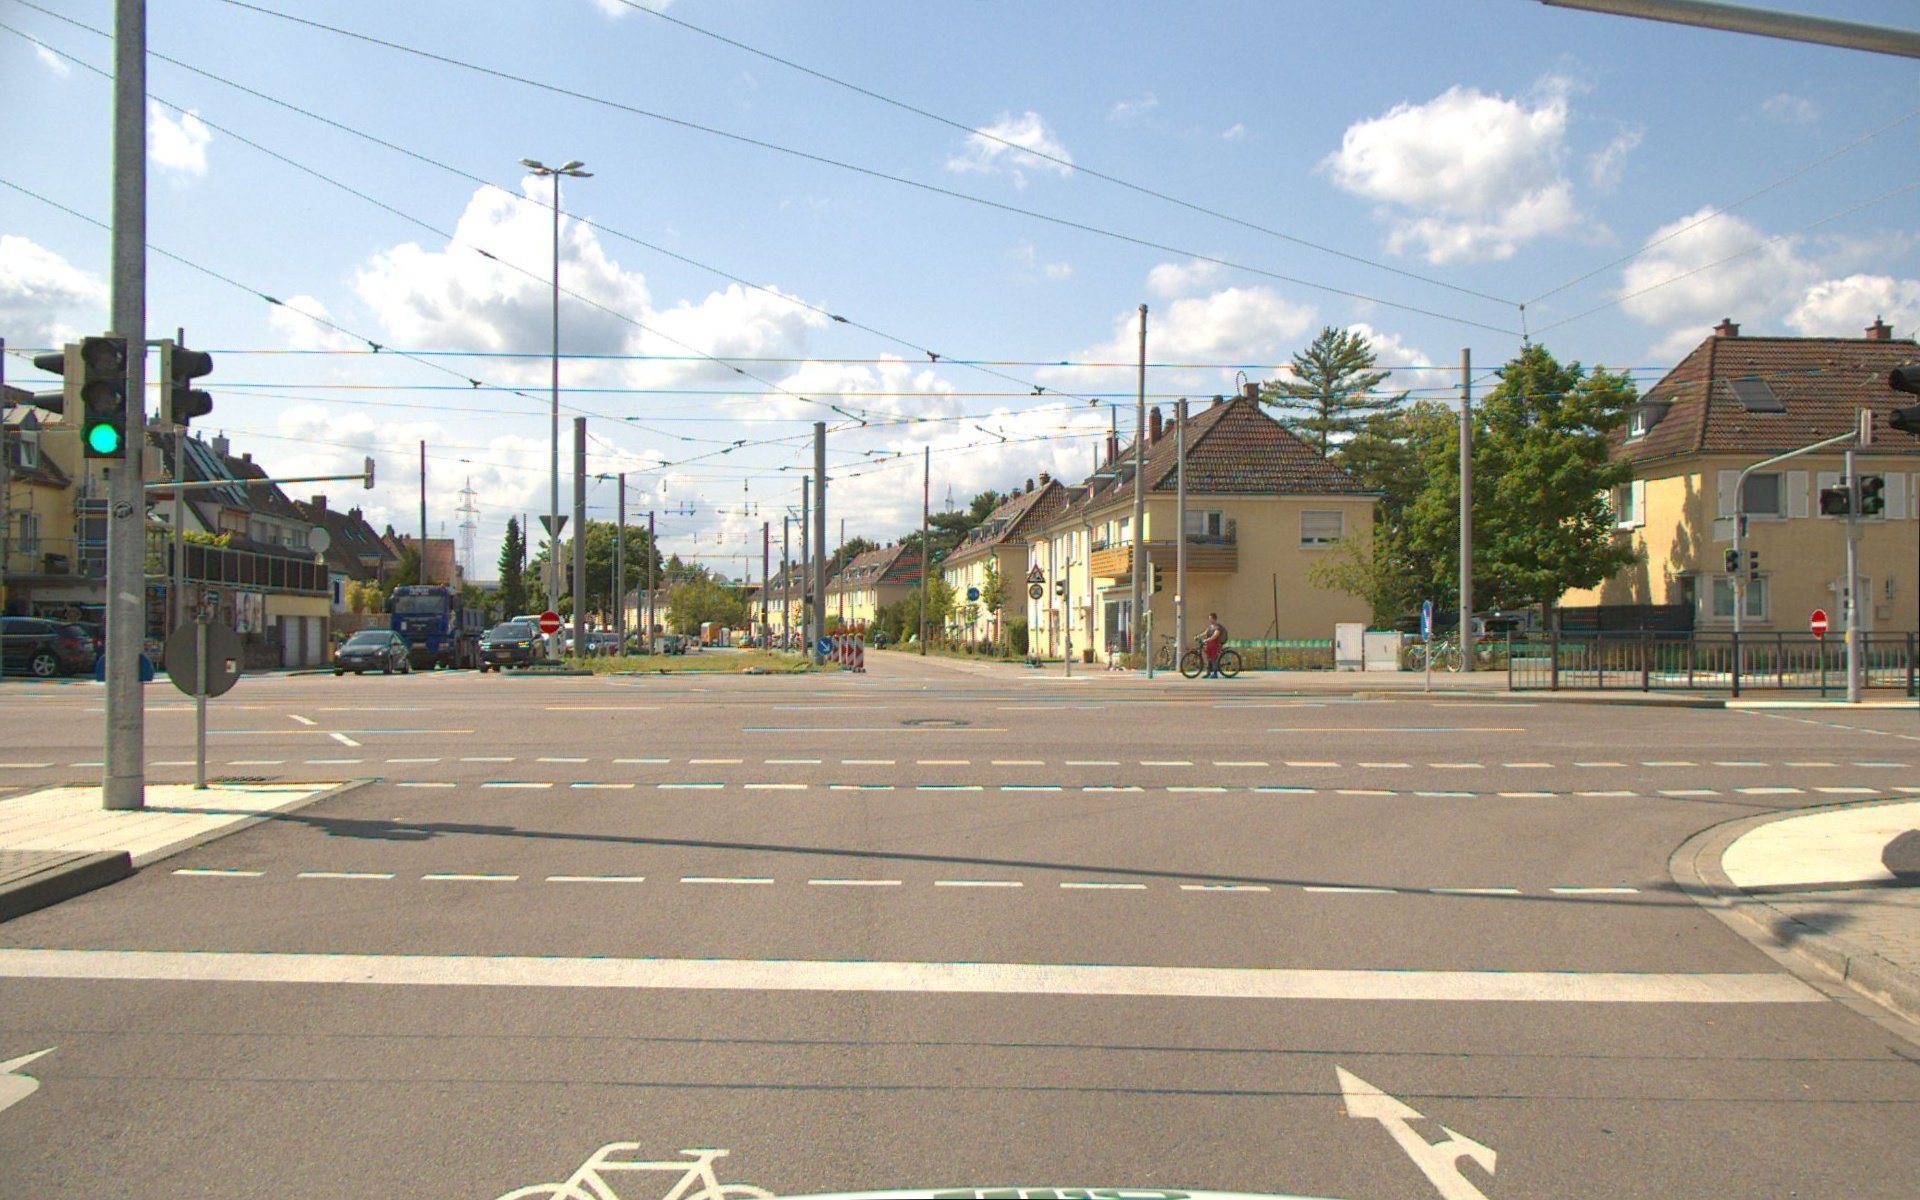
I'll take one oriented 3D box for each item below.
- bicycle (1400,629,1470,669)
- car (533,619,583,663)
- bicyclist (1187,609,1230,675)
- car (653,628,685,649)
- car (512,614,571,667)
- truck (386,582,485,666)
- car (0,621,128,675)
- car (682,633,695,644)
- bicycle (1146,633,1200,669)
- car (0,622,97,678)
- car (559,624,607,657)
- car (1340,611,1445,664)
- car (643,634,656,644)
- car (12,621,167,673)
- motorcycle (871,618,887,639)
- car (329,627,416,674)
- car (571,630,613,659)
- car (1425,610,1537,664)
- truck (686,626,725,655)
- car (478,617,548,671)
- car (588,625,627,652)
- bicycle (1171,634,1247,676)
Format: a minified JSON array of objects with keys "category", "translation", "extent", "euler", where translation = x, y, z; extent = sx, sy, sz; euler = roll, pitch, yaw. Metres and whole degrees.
[{"category":"bicycle","translation":[13.401,1.373,46.667],"extent":[1.773,1.124,0.699],"euler":[-1,-1,38]},{"category":"car","translation":[-17.378,1.764,71.644],"extent":[1.701,1.813,4.395],"euler":[0,-1,-9]},{"category":"bicyclist","translation":[6.846,1.151,45.636],"extent":[0.944,1.806,0.714],"euler":[0,-2,-23]},{"category":"car","translation":[-22.781,3.033,129.652],"extent":[1.782,1.579,4.000],"euler":[0,0,0]},{"category":"car","translation":[-16.109,1.551,63.803],"extent":[1.781,1.955,4.738],"euler":[0,-1,-9]},{"category":"truck","translation":[-21.264,1.009,67.411],"extent":[2.717,3.244,7.566],"euler":[0,-1,-9]},{"category":"car","translation":[-27.544,1.429,49.891],"extent":[4.058,1.519,1.504],"euler":[2,-1,-9]},{"category":"car","translation":[-37.271,5.324,226.990],"extent":[1.241,1.451,2.644],"euler":[0,-1,-24]},{"category":"bicycle","translation":[6.862,1.644,53.452],"extent":[0.586,1.116,2.257],"euler":[0,-2,-26]},{"category":"car","translation":[-27.049,1.403,47.225],"extent":[4.058,1.519,1.177],"euler":[2,-1,-9]},{"category":"car","translation":[-17.859,1.915,78.474],"extent":[1.879,1.444,3.991],"euler":[-1,-1,-9]},{"category":"car","translation":[14.031,1.245,53.854],"extent":[1.789,1.649,3.989],"euler":[0,-2,-10]},{"category":"car","translation":[-46.278,5.812,246.410],"extent":[1.242,1.451,2.643],"euler":[0,-1,-26]},{"category":"car","translation":[-27.631,1.500,52.600],"extent":[4.058,1.519,1.432],"euler":[2,-1,-9]},{"category":"motorcycle","translation":[-6.383,2.264,130.133],"extent":[1.047,1.664,2.079],"euler":[0,-1,-9]},{"category":"car","translation":[-19.769,1.684,55.828],"extent":[1.792,1.513,4.328],"euler":[0,-1,-6]},{"category":"car","translation":[-18.952,2.275,85.302],"extent":[1.809,1.438,4.906],"euler":[0,-1,-9]},{"category":"car","translation":[16.794,1.232,53.548],"extent":[1.789,1.649,3.989],"euler":[0,-2,-10]},{"category":"truck","translation":[-33.130,5.261,214.942],"extent":[2.606,3.555,9.365],"euler":[0,-1,-24]},{"category":"car","translation":[-15.456,1.493,57.401],"extent":[1.753,1.751,4.433],"euler":[0,0,-7]},{"category":"car","translation":[-20.232,2.225,95.136],"extent":[1.808,1.520,4.847],"euler":[0,-1,-8]},{"category":"bicycle","translation":[6.876,1.505,45.616],"extent":[1.999,1.121,0.710],"euler":[0,-2,-23]}]
